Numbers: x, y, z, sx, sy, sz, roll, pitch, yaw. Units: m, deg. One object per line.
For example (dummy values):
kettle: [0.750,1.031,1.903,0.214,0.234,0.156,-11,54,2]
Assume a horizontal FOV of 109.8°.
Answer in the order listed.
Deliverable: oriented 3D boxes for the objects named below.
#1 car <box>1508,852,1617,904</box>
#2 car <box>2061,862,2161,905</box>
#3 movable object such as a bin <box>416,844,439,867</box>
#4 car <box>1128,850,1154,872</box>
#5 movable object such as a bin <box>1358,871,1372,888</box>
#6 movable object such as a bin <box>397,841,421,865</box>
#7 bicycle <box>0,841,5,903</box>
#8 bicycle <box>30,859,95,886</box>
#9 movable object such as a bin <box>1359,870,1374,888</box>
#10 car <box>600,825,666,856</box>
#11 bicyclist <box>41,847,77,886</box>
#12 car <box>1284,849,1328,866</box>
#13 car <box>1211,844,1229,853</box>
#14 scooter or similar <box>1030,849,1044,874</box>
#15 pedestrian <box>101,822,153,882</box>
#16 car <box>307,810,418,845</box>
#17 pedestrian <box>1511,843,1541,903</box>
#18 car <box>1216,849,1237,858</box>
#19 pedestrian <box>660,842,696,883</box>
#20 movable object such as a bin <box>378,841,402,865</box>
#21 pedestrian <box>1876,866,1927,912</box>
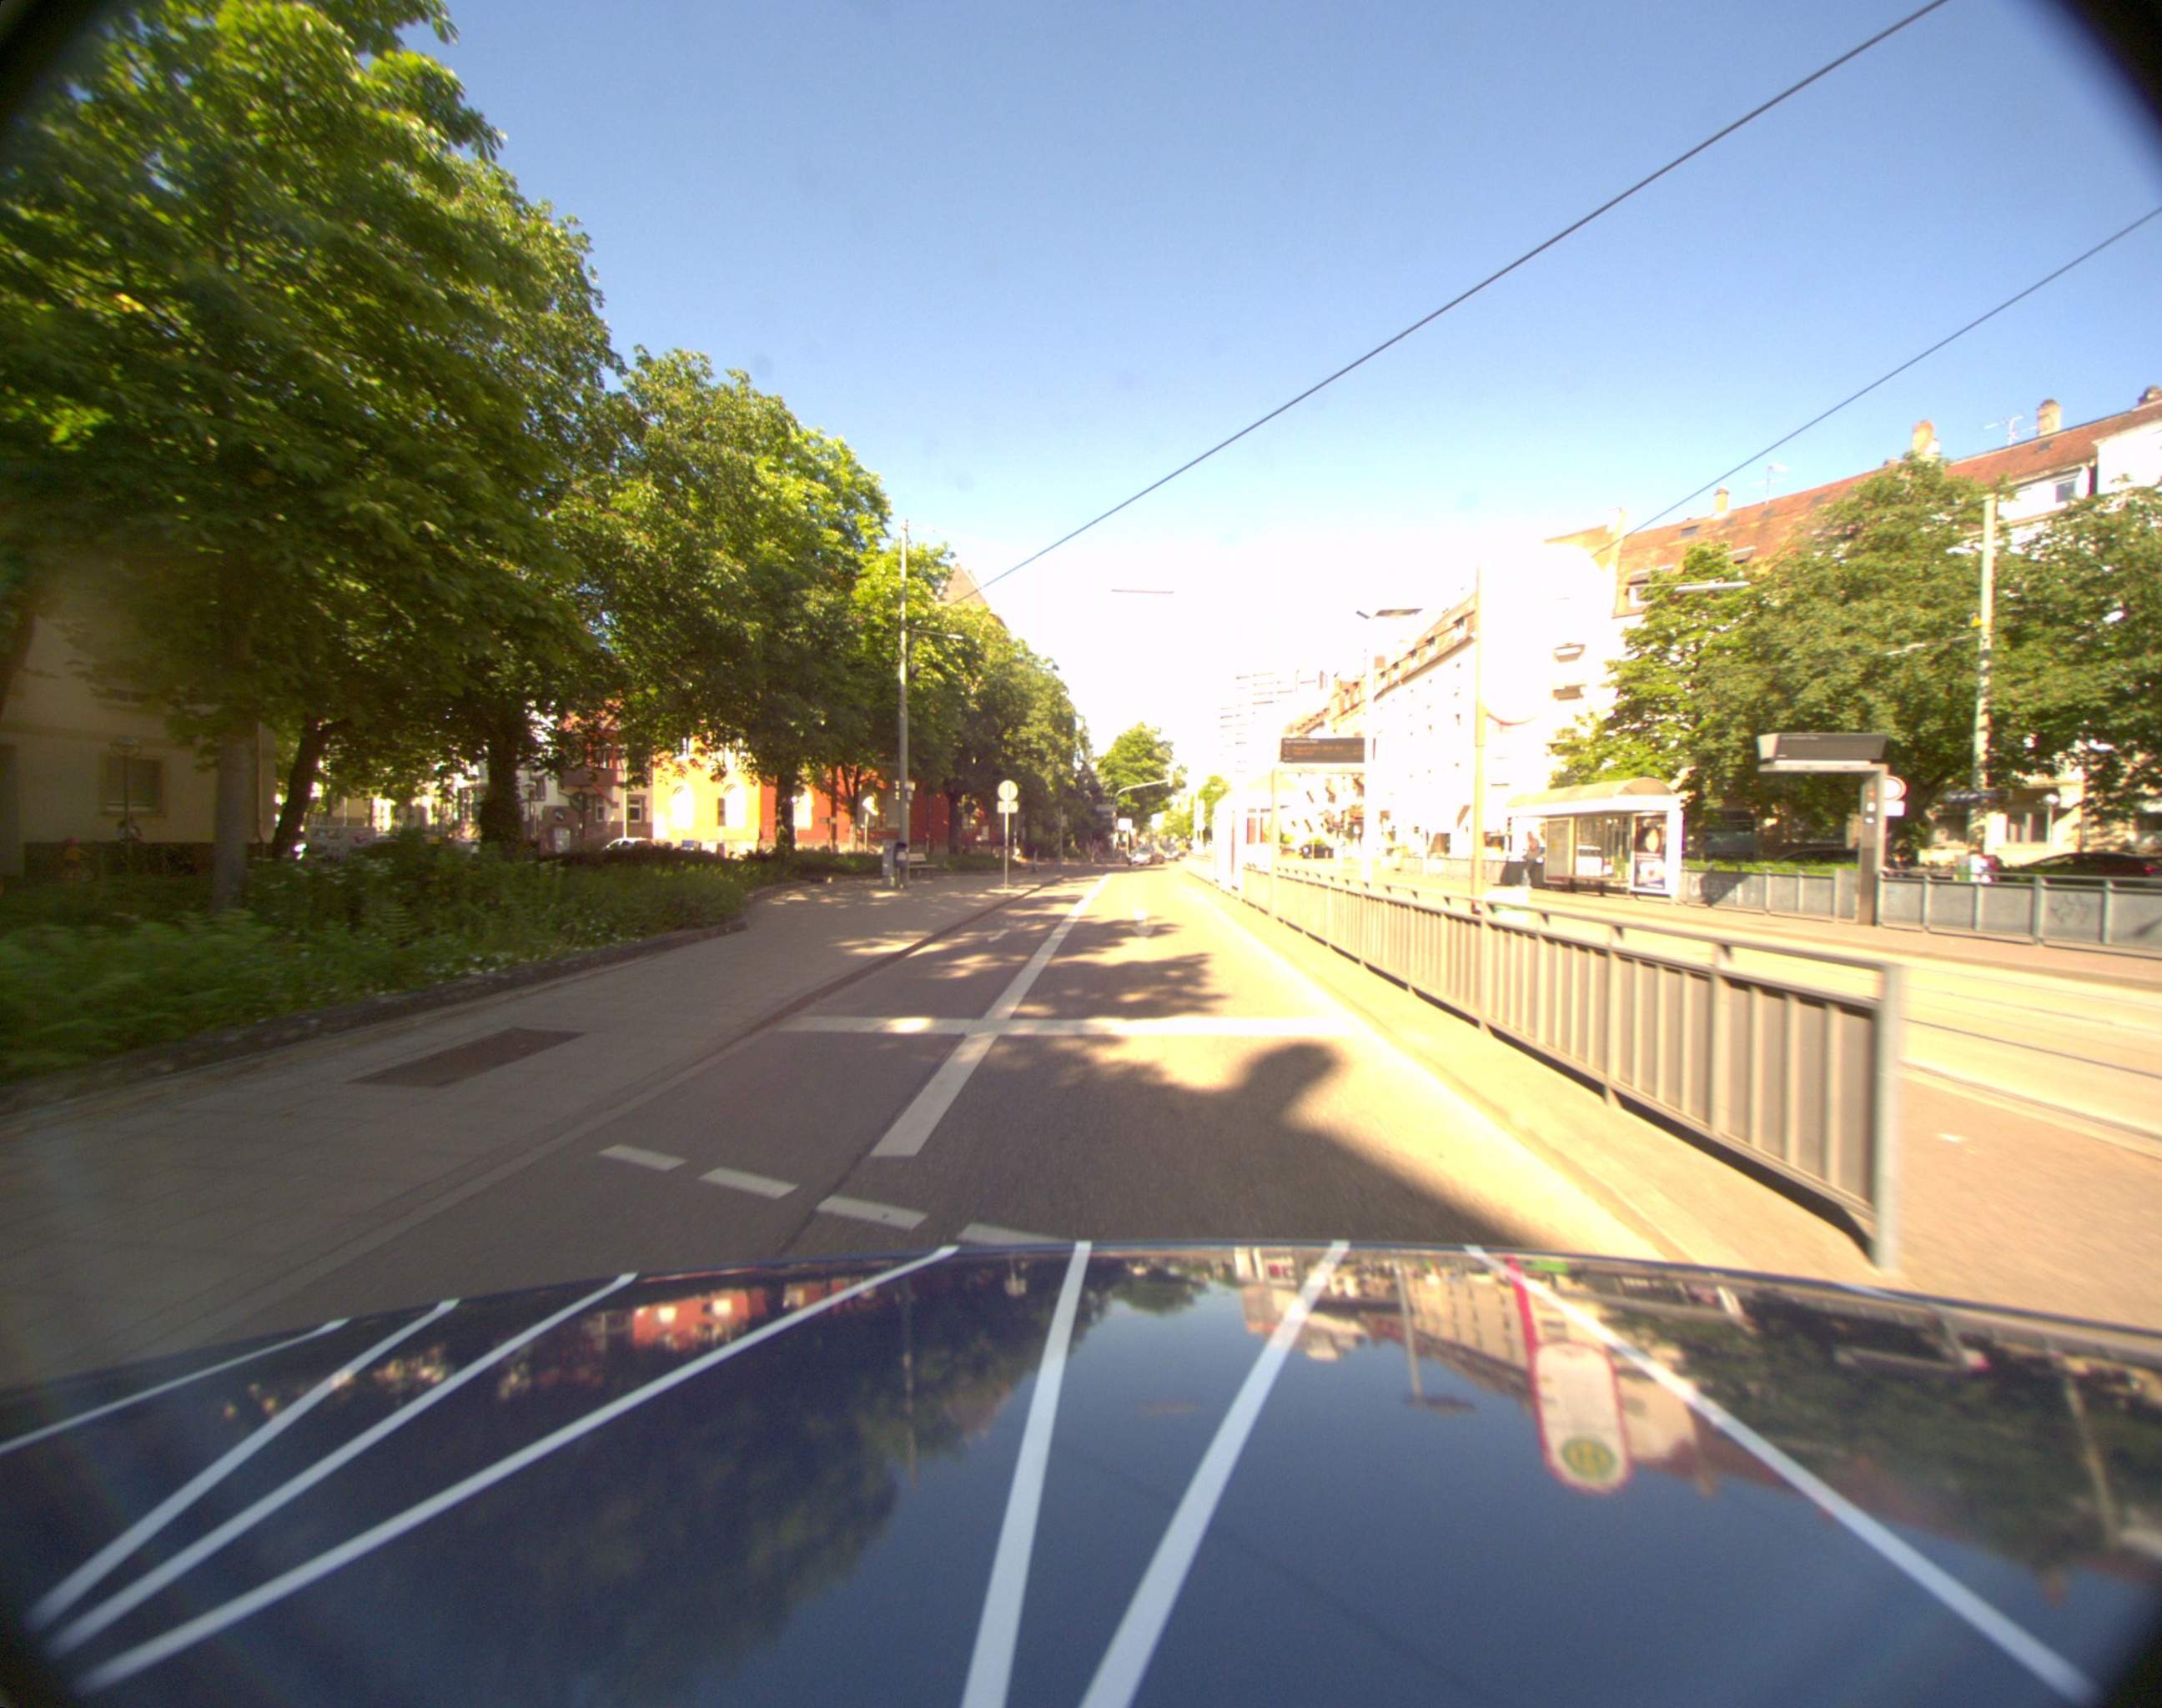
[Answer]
car: [16.632,0.754,26.474,1.693,1.531,3.800,3,2,7]
car: [32.540,0.885,22.847,1.528,1.208,3.453,-1,1,-10]
movable object such as a bin: [-27.471,0.054,31.945,0.641,0.959,0.544,0,2,32]
car: [4.141,0.456,52.660,1.725,1.390,3.613,-1,1,5]
movable object such as a bin: [22.688,2.010,60.718,0.878,1.301,0.748,-1,1,-2]
movable object such as a bin: [-27.797,-0.039,31.430,0.641,0.959,0.583,0,2,32]
bicycle: [-22.170,0.372,14.853,0.428,1.272,1.486,2,0,-15]
bicycle: [-25.433,0.464,18.996,0.432,0.633,0.916,-1,1,-8]
movable object such as a bin: [22.373,1.954,59.570,0.878,1.301,0.748,-1,1,-2]
car: [-26.105,-0.761,44.254,3.793,1.707,1.638,0,1,30]
bicyclist: [-25.491,0.307,18.957,0.339,0.939,0.393,-1,2,-8]
car: [23.164,0.360,78.325,3.885,1.581,1.816,-1,5,-1]
car: [24.491,-0.957,133.795,3.229,1.412,1.565,-2,2,-43]
scooter or similar: [-2.190,0.392,38.038,0.519,1.241,1.276,1,-1,5]
pedestrian: [-26.576,-0.057,21.177,0.572,1.625,0.630,-1,2,4]
car: [-33.223,-1.194,35.222,1.496,1.510,3.353,0,1,22]
pedestrian: [13.388,0.558,22.872,0.466,1.774,0.673,1,2,3]
car: [24.780,-0.103,129.446,3.213,1.412,1.572,0,1,36]
pedestrian: [-12.149,0.246,22.928,0.450,1.224,1.041,-1,1,5]
movable object such as a bin: [-28.095,-0.037,30.881,0.641,0.959,0.544,0,2,32]
pedestrian: [23.489,0.999,21.756,0.658,1.274,0.724,-1,1,4]
